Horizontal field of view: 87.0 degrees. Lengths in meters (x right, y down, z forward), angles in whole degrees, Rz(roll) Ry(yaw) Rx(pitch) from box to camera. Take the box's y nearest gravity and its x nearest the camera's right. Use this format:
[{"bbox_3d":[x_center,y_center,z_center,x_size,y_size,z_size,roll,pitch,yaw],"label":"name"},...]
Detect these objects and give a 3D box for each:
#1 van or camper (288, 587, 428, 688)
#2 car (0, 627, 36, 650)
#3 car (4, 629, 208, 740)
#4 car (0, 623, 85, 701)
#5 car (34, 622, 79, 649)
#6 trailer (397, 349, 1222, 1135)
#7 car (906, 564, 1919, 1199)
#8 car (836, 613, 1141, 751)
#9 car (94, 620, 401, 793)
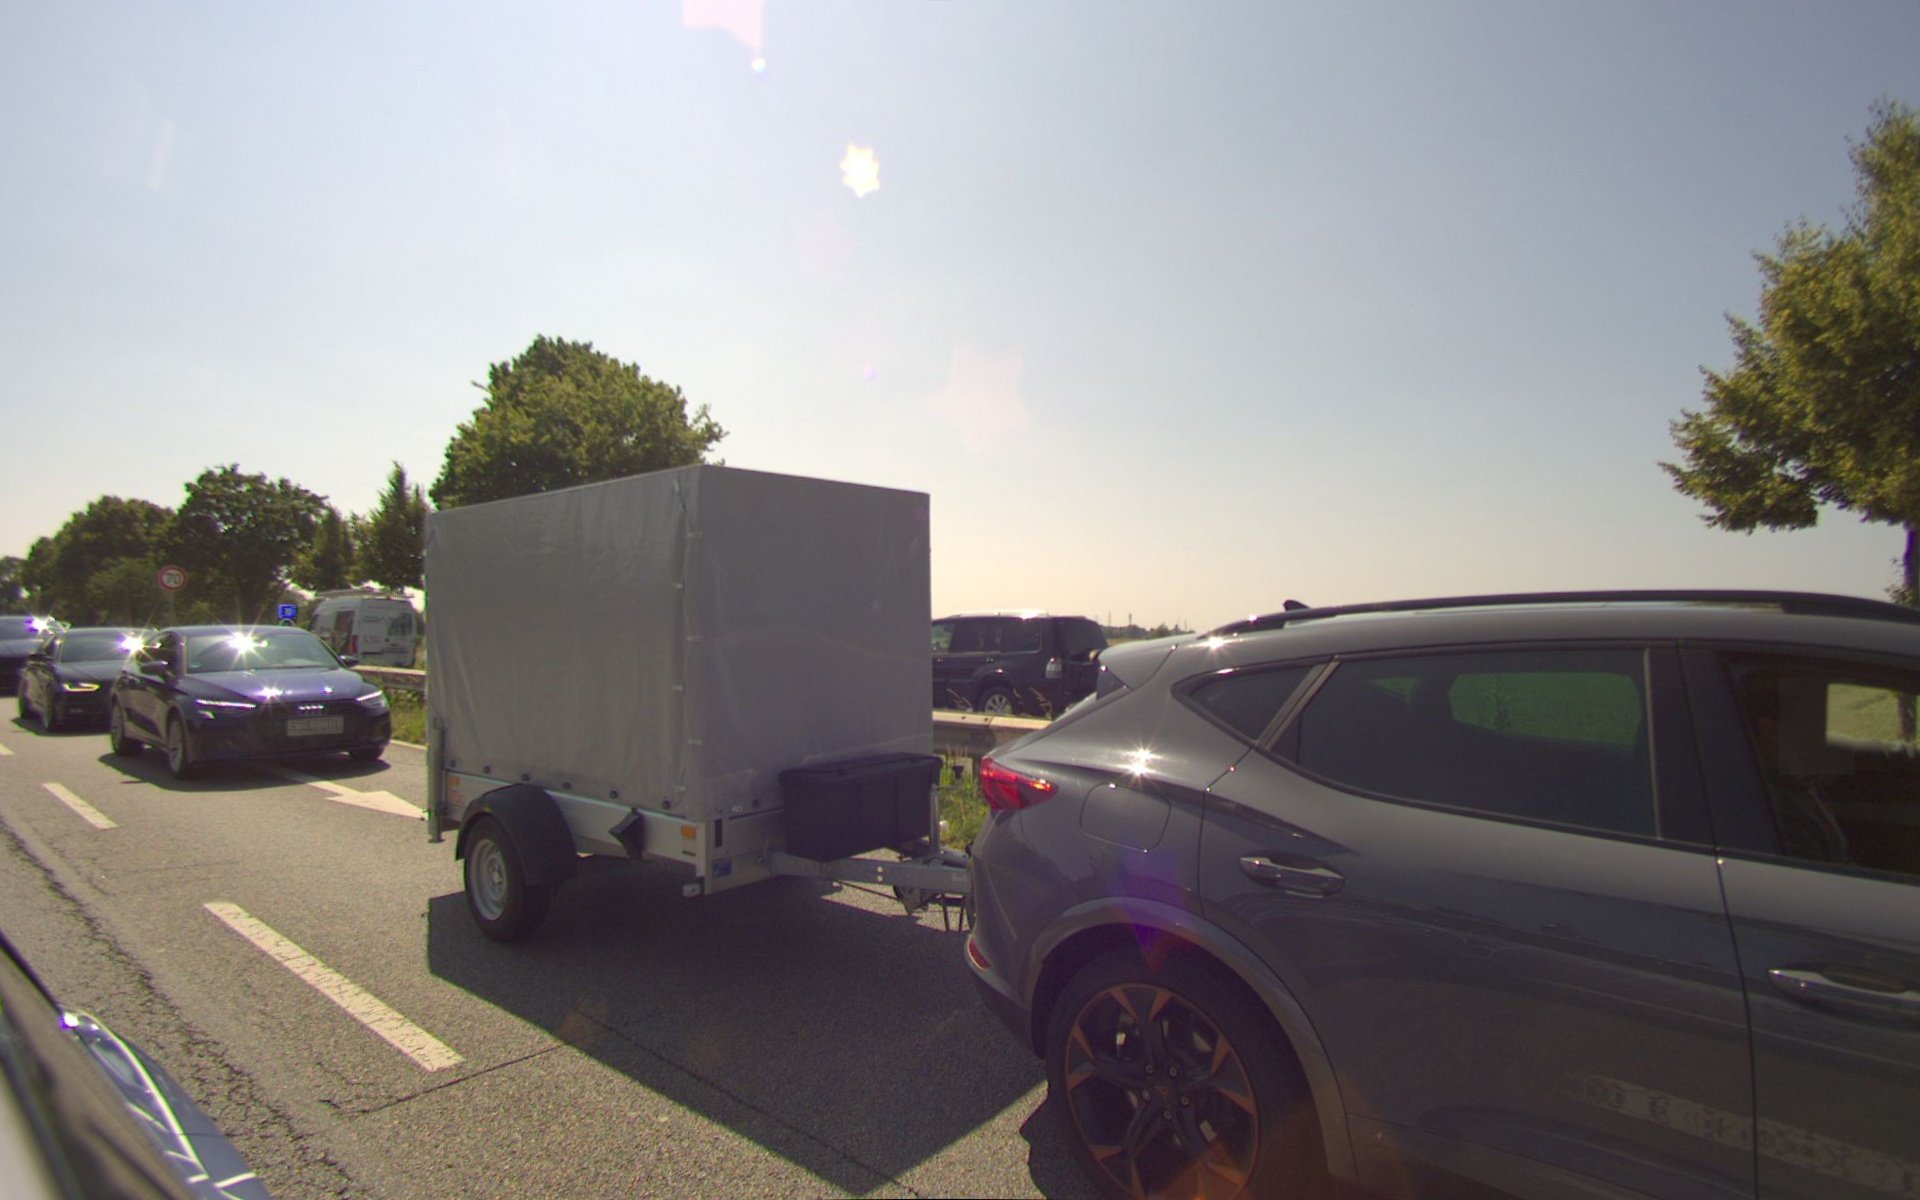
[{"bbox_3d":[-20.288,1.256,33.990,5.690,3.123,2.240,-2,-3,40],"label":"van or camper"},{"bbox_3d":[-64.946,2.622,69.361,4.502,1.465,1.859,-1,-3,41],"label":"car"},{"bbox_3d":[-12.839,1.147,15.113,4.453,1.391,1.722,-1,-1,42],"label":"car"},{"bbox_3d":[-20.215,1.266,21.613,4.099,1.527,1.836,-1,-1,42],"label":"car"},{"bbox_3d":[-70.946,2.775,79.439,4.827,1.966,1.973,-1,-4,41],"label":"car"},{"bbox_3d":[-1.045,0.439,4.766,4.172,2.190,1.485,-2,-2,41],"label":"trailer"},{"bbox_3d":[2.059,0.706,2.066,4.360,1.514,1.727,-2,-1,41],"label":"car"},{"bbox_3d":[0.330,1.192,15.937,4.693,1.870,1.838,-2,-3,40],"label":"car"},{"bbox_3d":[-7.626,0.970,10.694,4.027,1.476,1.700,-1,-1,40],"label":"car"}]
